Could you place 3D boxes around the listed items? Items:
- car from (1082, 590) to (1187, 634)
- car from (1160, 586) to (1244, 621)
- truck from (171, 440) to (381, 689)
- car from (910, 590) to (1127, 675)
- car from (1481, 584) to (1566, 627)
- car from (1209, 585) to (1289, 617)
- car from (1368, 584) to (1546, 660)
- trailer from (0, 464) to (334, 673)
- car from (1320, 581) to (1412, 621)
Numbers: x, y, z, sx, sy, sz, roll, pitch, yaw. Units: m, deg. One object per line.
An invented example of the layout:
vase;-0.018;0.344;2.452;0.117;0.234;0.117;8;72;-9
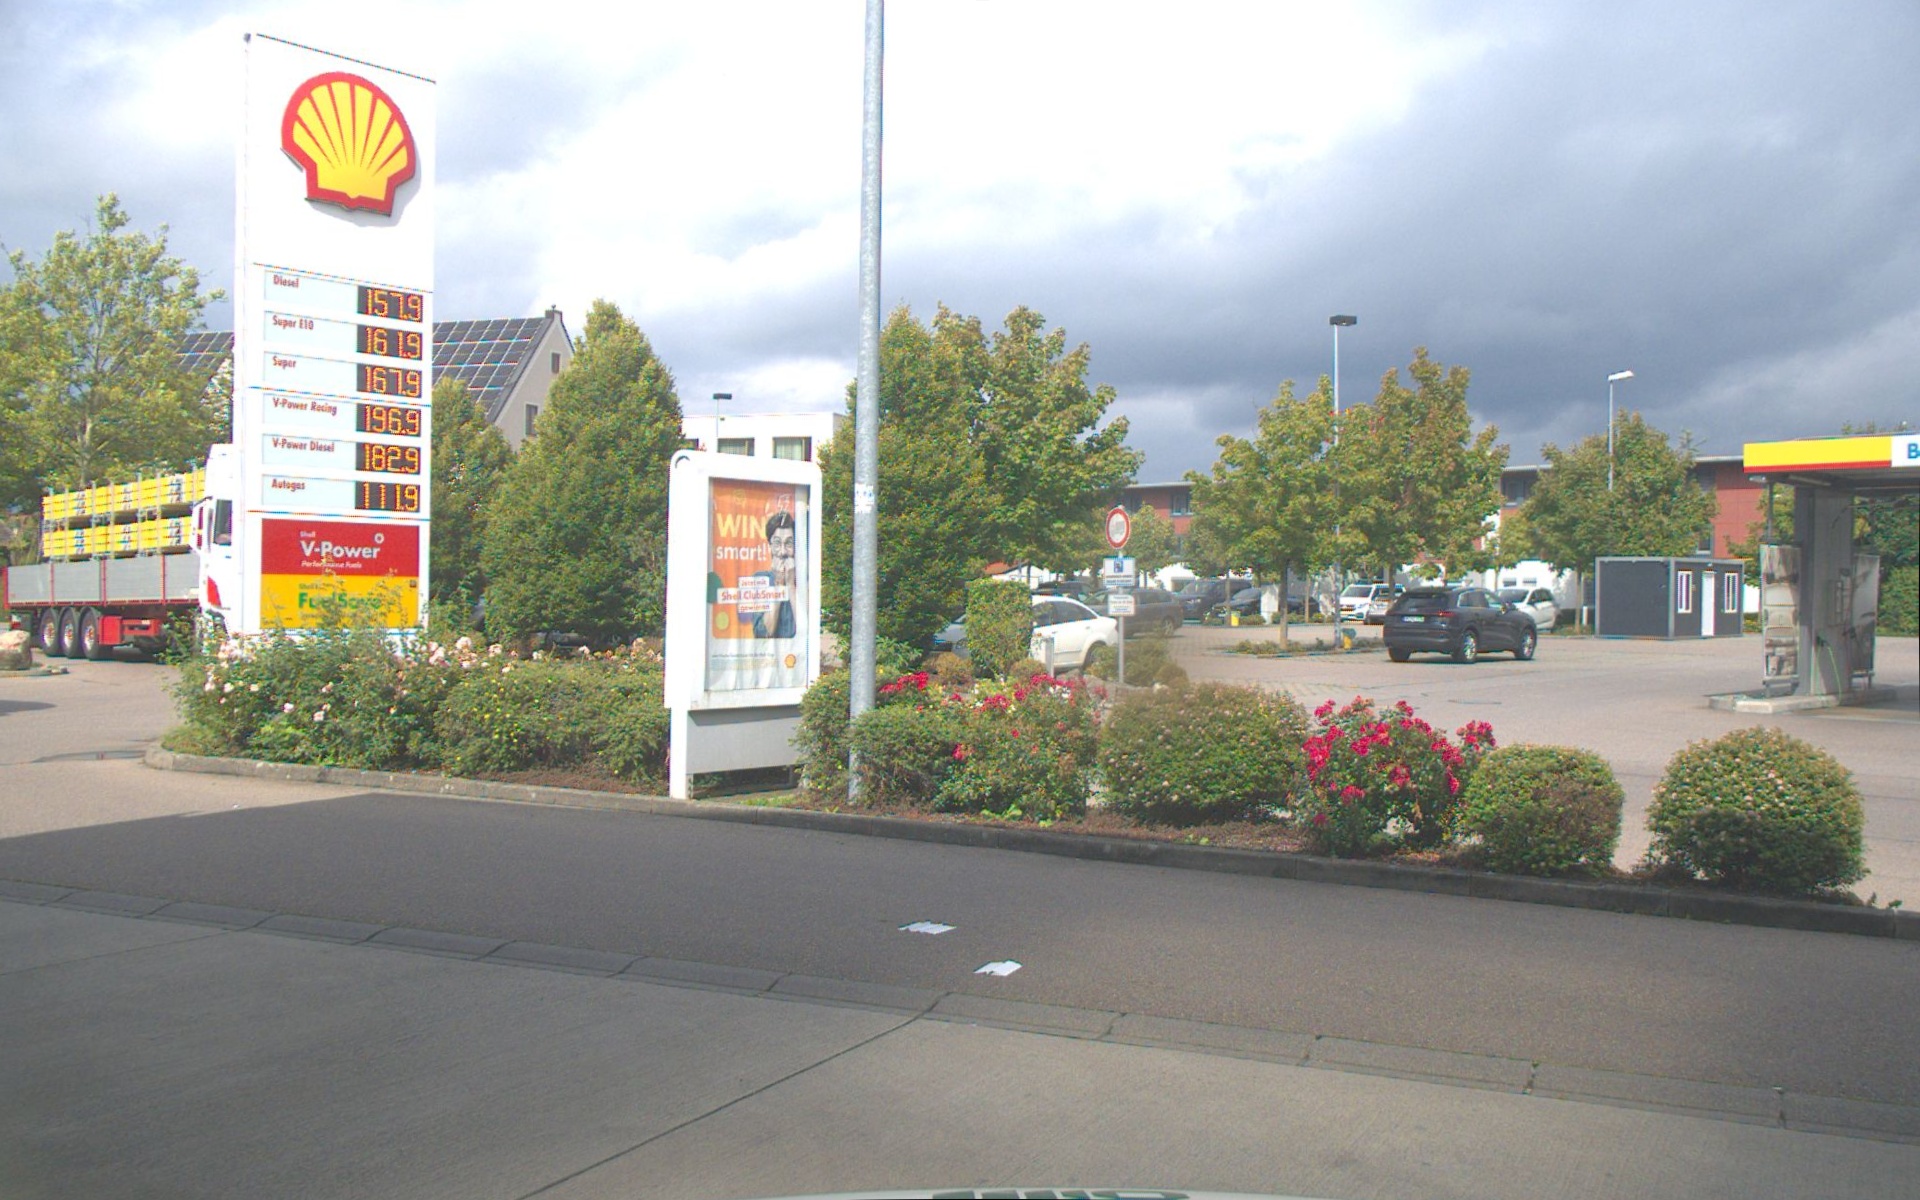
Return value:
car;5.274;0.372;49.787;3.203;1.249;1.481;1;0;-45
car;9.806;0.153;66.927;3.364;1.343;1.719;1;0;-45
truck;-12.188;-0.551;29.200;2.703;3.913;5.860;1;0;-29
car;1.128;0.579;29.931;1.348;1.428;4.312;1;-1;45
car;18.003;0.179;52.801;3.080;1.330;1.346;1;-1;-45
car;11.408;0.049;65.205;3.393;1.199;1.462;1;0;-45
car;11.126;0.491;36.888;4.467;1.575;1.856;1;0;-44
trailer;-17.613;-0.616;35.755;2.719;3.842;12.501;1;0;-45
car;19.910;0.047;80.940;4.839;1.865;2.150;1;0;-44
